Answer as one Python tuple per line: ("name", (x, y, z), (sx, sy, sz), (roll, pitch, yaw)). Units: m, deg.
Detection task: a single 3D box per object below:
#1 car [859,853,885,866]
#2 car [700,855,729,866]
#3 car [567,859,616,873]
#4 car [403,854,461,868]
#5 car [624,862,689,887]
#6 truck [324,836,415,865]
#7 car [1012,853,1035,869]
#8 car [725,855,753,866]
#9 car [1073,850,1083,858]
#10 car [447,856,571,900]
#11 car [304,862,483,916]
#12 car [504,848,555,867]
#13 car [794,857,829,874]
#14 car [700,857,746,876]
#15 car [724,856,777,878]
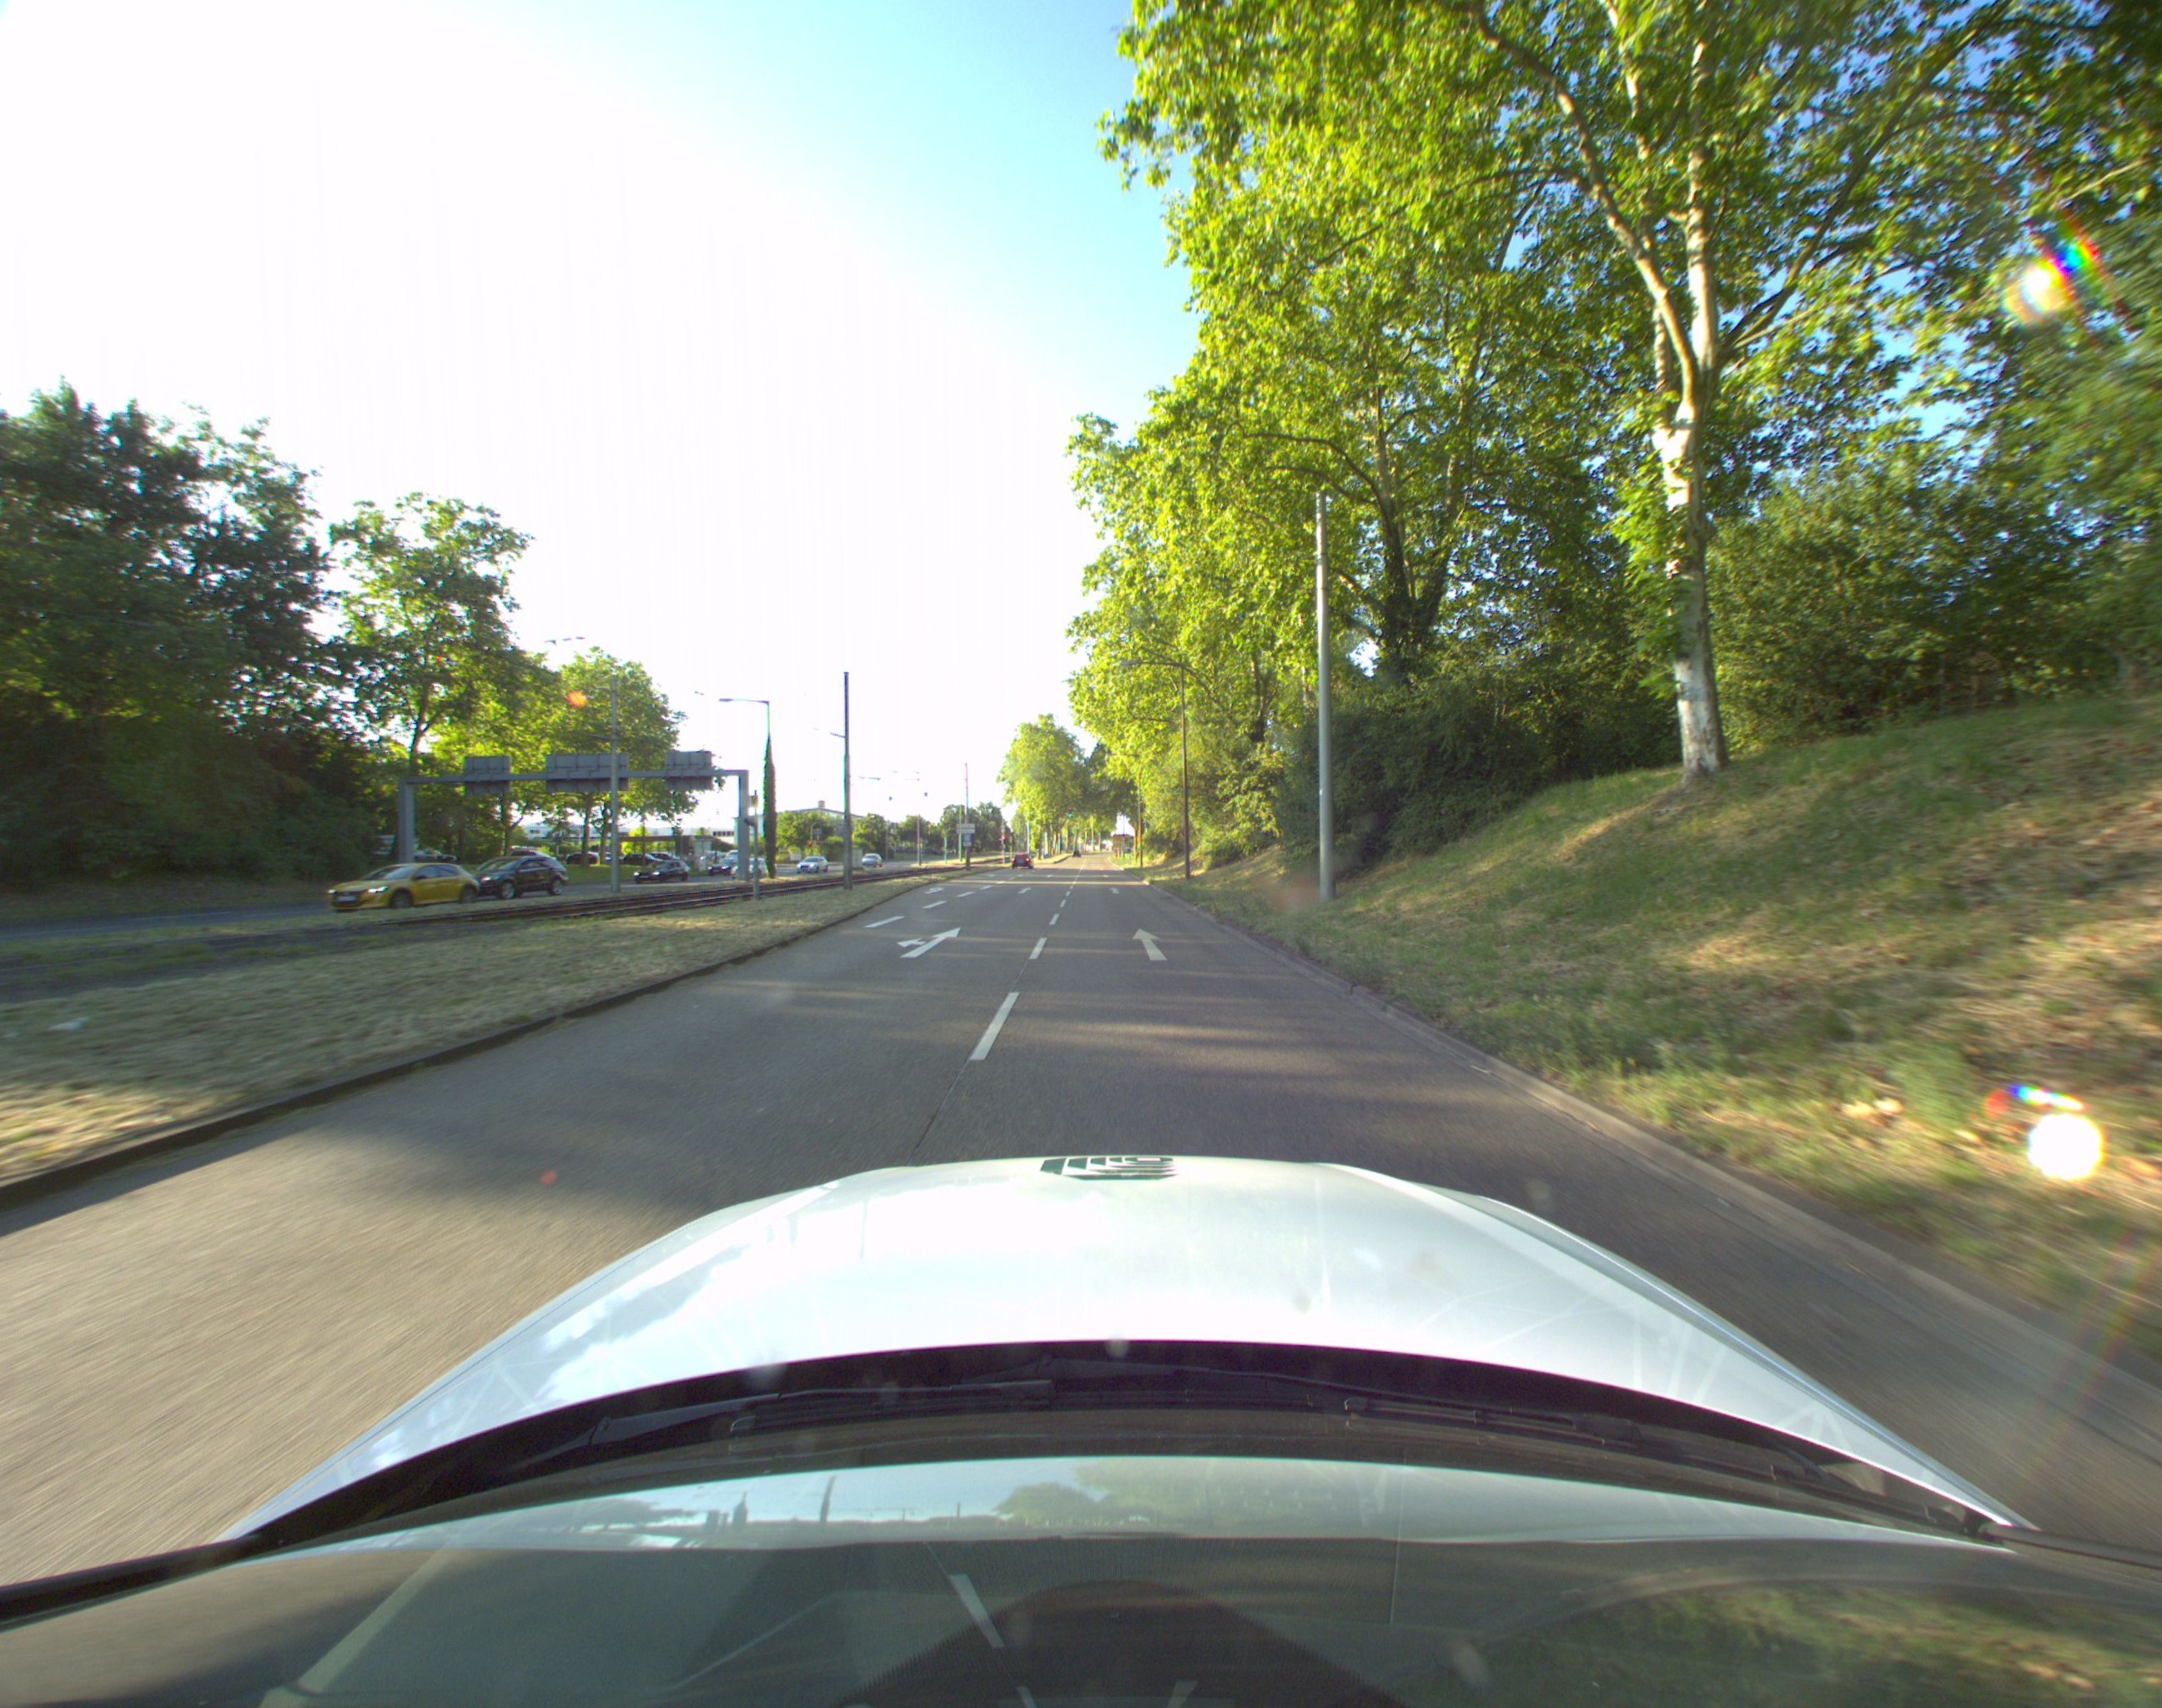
("car", (-23.102, 0.614, 90.210), (1.648, 1.416, 4.259), (-1, 0, 1))
("car", (-47.199, 0.827, 104.943), (1.833, 1.442, 4.004), (0, 0, 3))
("car", (-51.498, 1.235, 85.648), (4.040, 1.387, 1.785), (0, 0, 1))
("car", (-60.269, 0.640, 75.705), (3.975, 1.260, 1.673), (0, 0, -1))
("car", (-27.423, 1.307, 52.798), (1.832, 1.481, 4.435), (0, 0, 0))
("truck", (-82.406, -0.390, 94.404), (8.258, 3.388, 2.735), (0, 0, 1))
("car", (-5.360, 0.633, 76.819), (1.786, 1.403, 3.690), (-1, 0, 2))
("car", (-44.235, 0.798, 105.443), (1.833, 1.442, 4.004), (0, 0, 3))
("car", (-0.645, -0.010, 160.825), (1.786, 1.403, 3.690), (0, 0, 2))
("car", (-23.309, 0.935, 33.440), (1.831, 1.655, 4.438), (0, 0, 2))
("car", (-20.440, 0.987, 24.464), (1.831, 1.416, 4.021), (-1, 0, 2))
("car", (-57.797, 0.378, 85.445), (3.970, 1.860, 2.002), (-1, 0, 3))
("car", (-23.758, 0.961, 71.886), (1.648, 1.416, 4.257), (-1, 0, -1))
("car", (-30.207, 1.032, 68.898), (1.832, 1.481, 4.599), (0, 0, 0))
("car", (-23.441, 0.886, 57.939), (1.833, 1.416, 4.598), (-1, 0, -1))
